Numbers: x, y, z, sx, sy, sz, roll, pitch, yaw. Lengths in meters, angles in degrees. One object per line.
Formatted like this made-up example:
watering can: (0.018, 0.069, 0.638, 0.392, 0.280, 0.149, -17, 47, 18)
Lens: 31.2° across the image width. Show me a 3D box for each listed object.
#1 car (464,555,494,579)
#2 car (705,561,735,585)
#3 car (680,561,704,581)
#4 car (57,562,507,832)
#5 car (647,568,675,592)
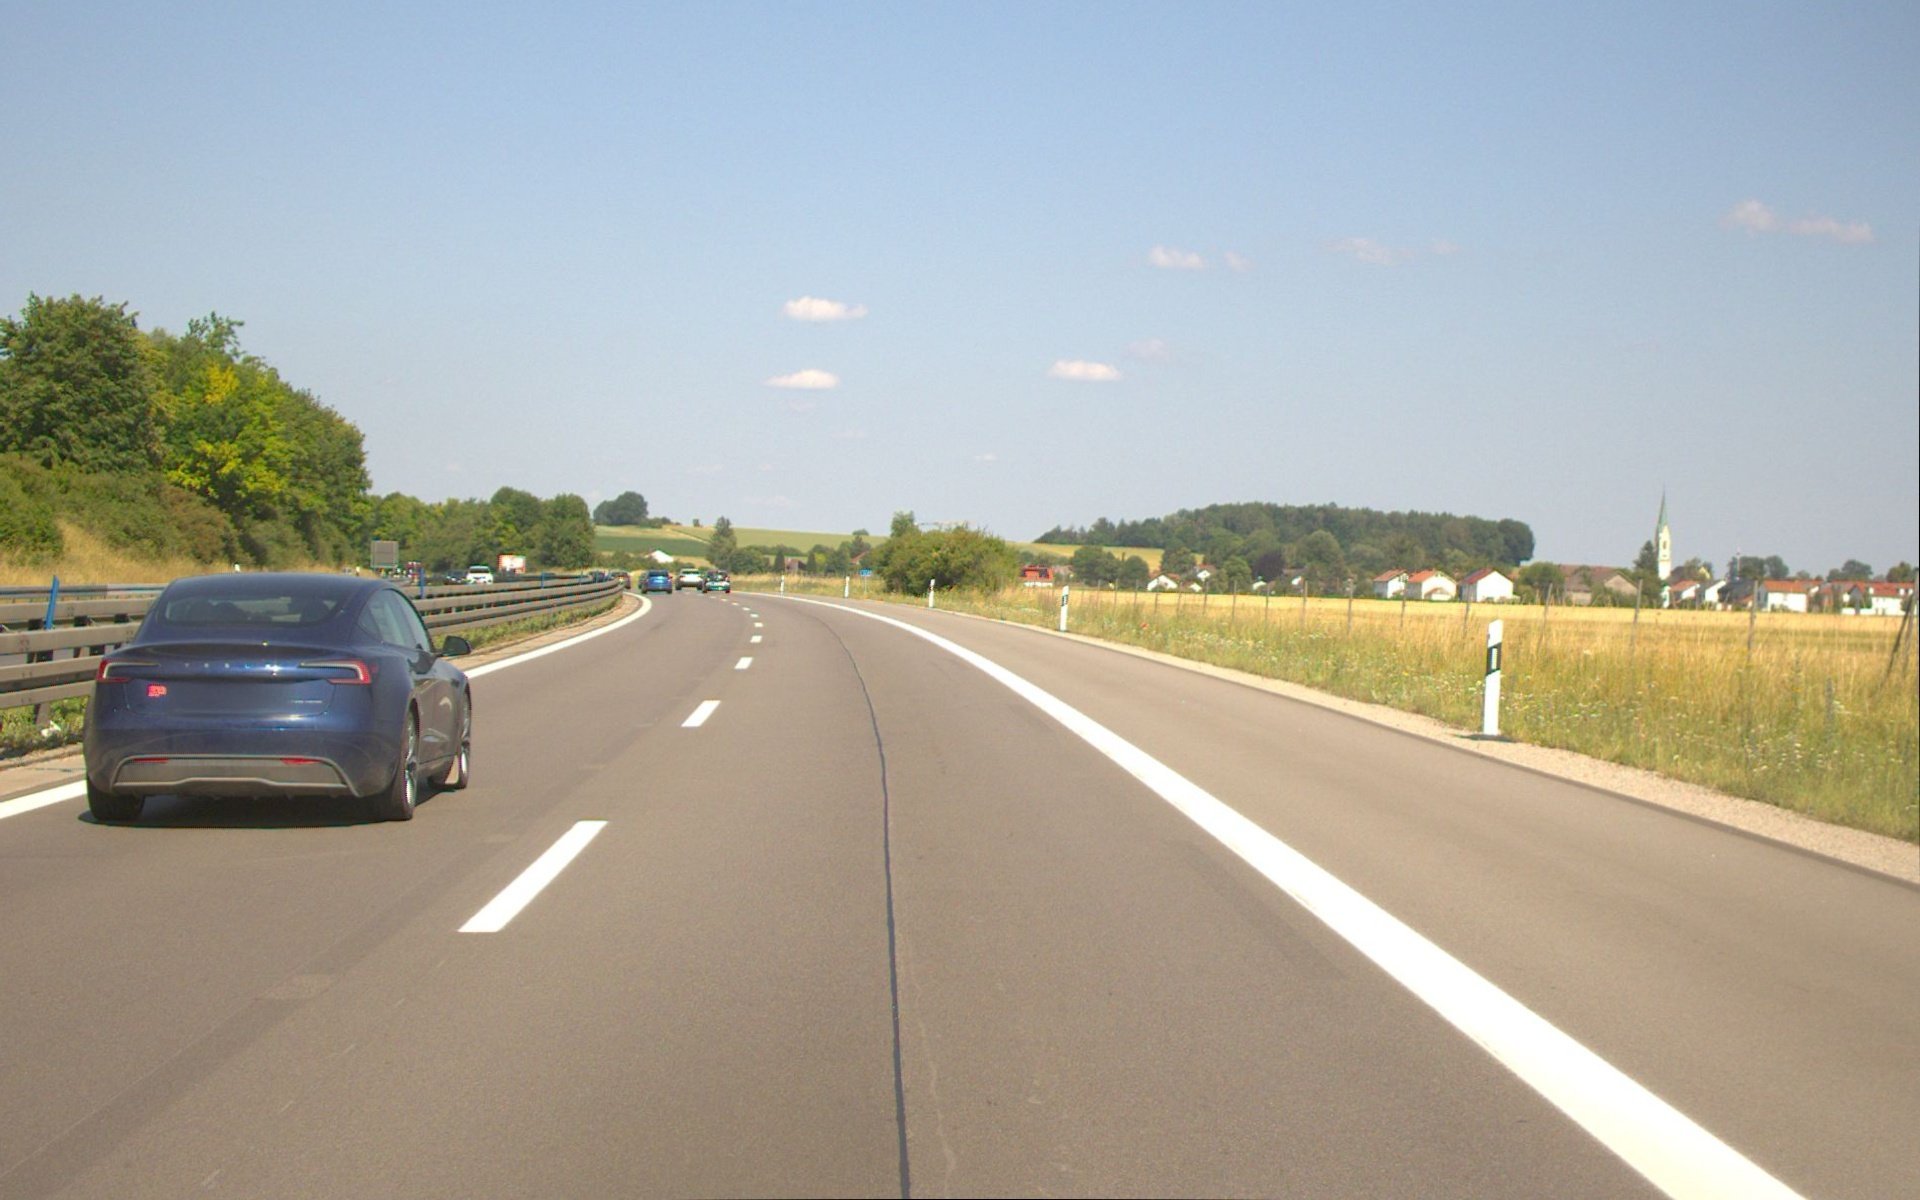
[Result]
car: (-33.724, -2.318, 241.065, 1.751, 1.559, 4.581, 2, 0, -5)
car: (-14.877, -1.646, 213.085, 1.675, 1.448, 3.592, 1, 0, -6)
car: (-19.725, -2.136, 252.842, 1.676, 1.448, 3.592, 1, 0, -5)
car: (-4.092, 0.500, 21.730, 1.847, 1.428, 5.866, 1, 1, -2)
car: (-18.267, -1.236, 210.028, 1.676, 1.448, 3.592, 1, 0, -5)
